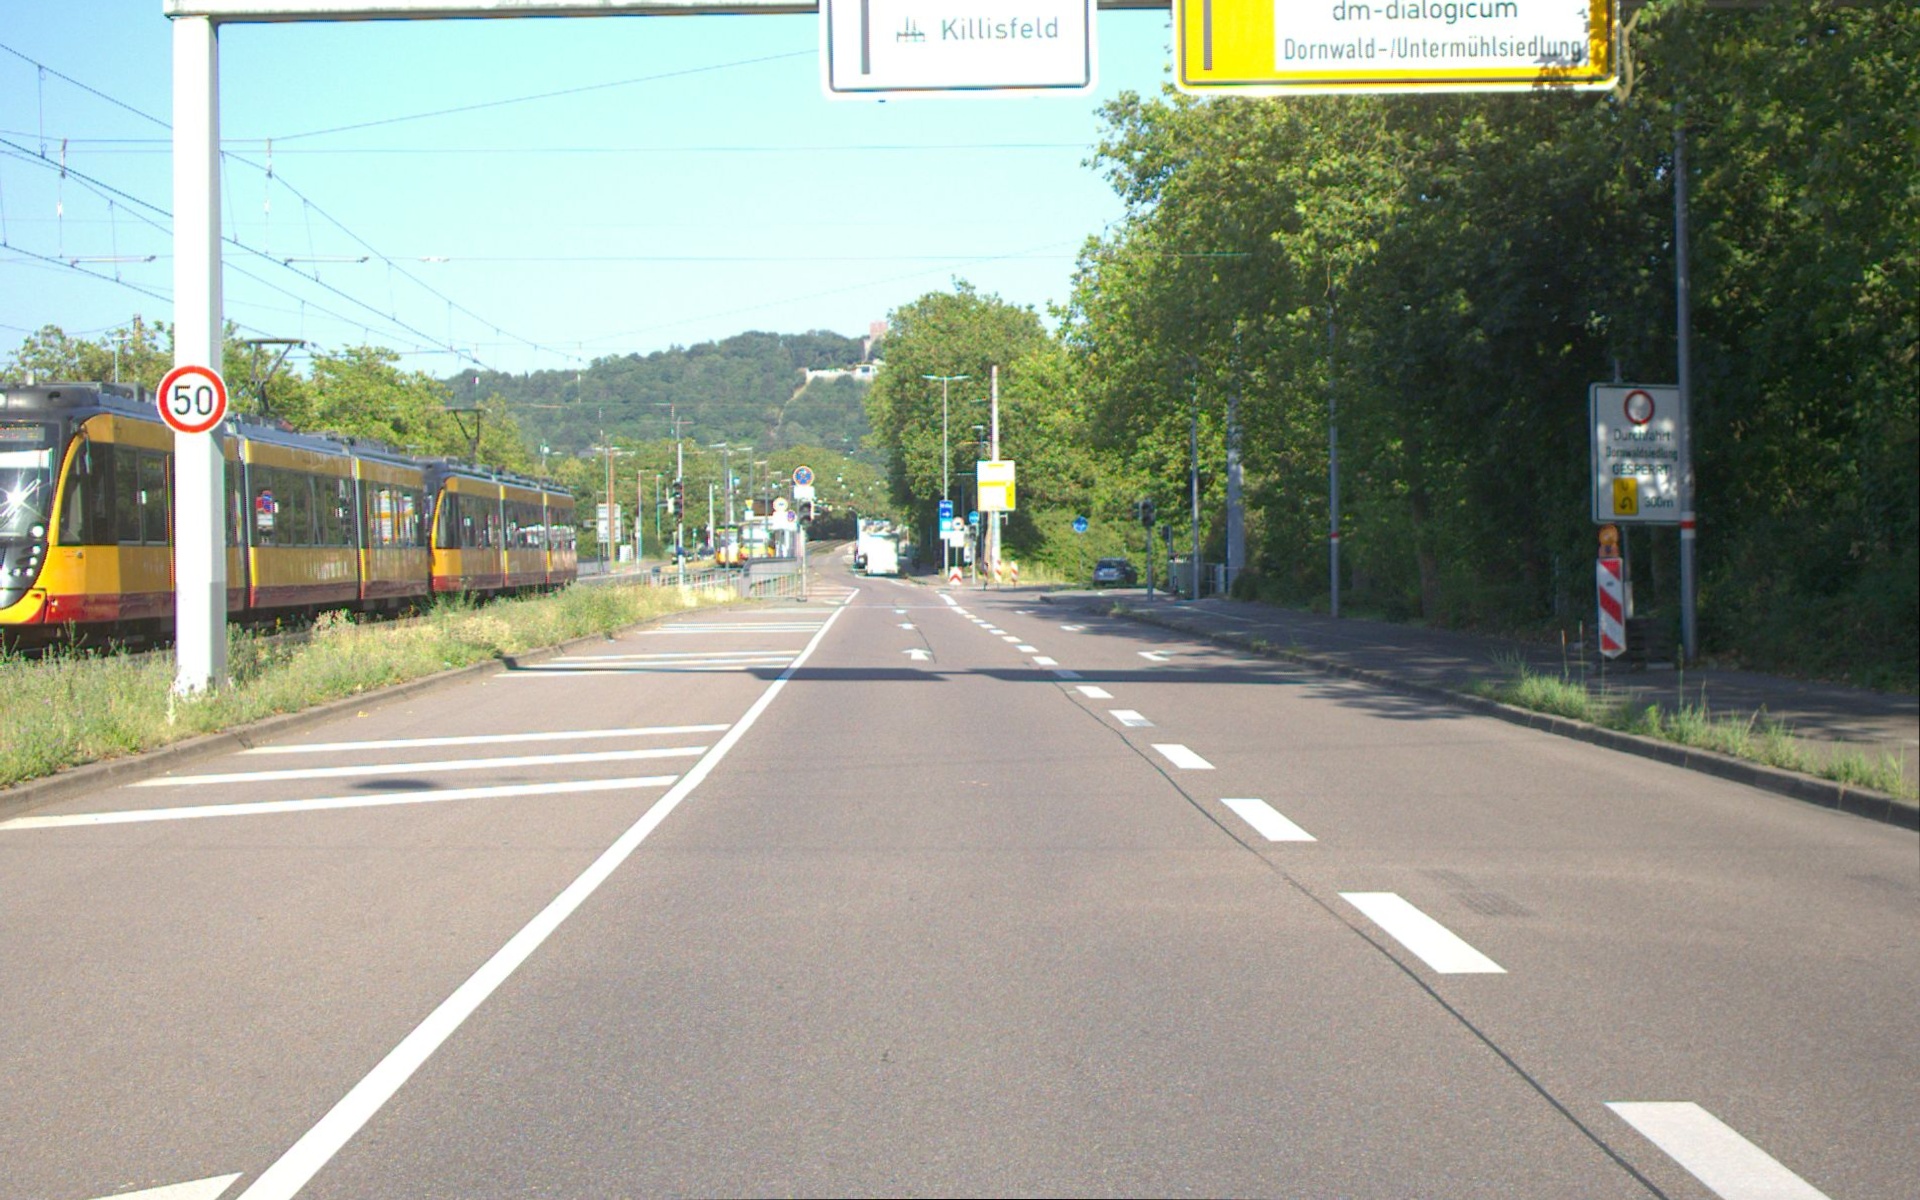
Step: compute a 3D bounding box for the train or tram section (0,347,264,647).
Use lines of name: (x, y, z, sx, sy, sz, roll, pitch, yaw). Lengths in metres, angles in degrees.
train or tram section: (-12.802, -1.423, 50.828, 2.804, 3.889, 12.333, 1, 1, -2)

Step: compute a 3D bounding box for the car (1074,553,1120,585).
car: (6.880, -1.550, 172.537, 2.087, 1.560, 3.954, 1, 1, 5)

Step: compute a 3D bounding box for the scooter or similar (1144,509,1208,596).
scooter or similar: (6.859, -1.525, 109.489, 1.681, 2.706, 4.869, 0, 1, -1)

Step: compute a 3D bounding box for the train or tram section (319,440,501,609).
train or tram section: (-13.784, -1.846, 87.241, 2.824, 3.937, 12.708, 1, 1, -1)

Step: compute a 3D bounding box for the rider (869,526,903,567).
rider: (-4.818, -3.472, 223.290, 2.109, 2.638, 0.736, 0, 1, 5)

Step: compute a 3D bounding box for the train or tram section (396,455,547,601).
train or tram section: (-14.059, -2.034, 99.920, 2.824, 3.937, 12.655, 1, 1, -1)

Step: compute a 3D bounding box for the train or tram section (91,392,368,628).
train or tram section: (-13.149, -1.566, 62.994, 2.804, 3.889, 11.992, 1, 1, -2)

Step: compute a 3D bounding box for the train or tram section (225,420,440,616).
train or tram section: (-13.486, -1.716, 74.903, 2.804, 3.889, 11.814, 1, 1, -2)
